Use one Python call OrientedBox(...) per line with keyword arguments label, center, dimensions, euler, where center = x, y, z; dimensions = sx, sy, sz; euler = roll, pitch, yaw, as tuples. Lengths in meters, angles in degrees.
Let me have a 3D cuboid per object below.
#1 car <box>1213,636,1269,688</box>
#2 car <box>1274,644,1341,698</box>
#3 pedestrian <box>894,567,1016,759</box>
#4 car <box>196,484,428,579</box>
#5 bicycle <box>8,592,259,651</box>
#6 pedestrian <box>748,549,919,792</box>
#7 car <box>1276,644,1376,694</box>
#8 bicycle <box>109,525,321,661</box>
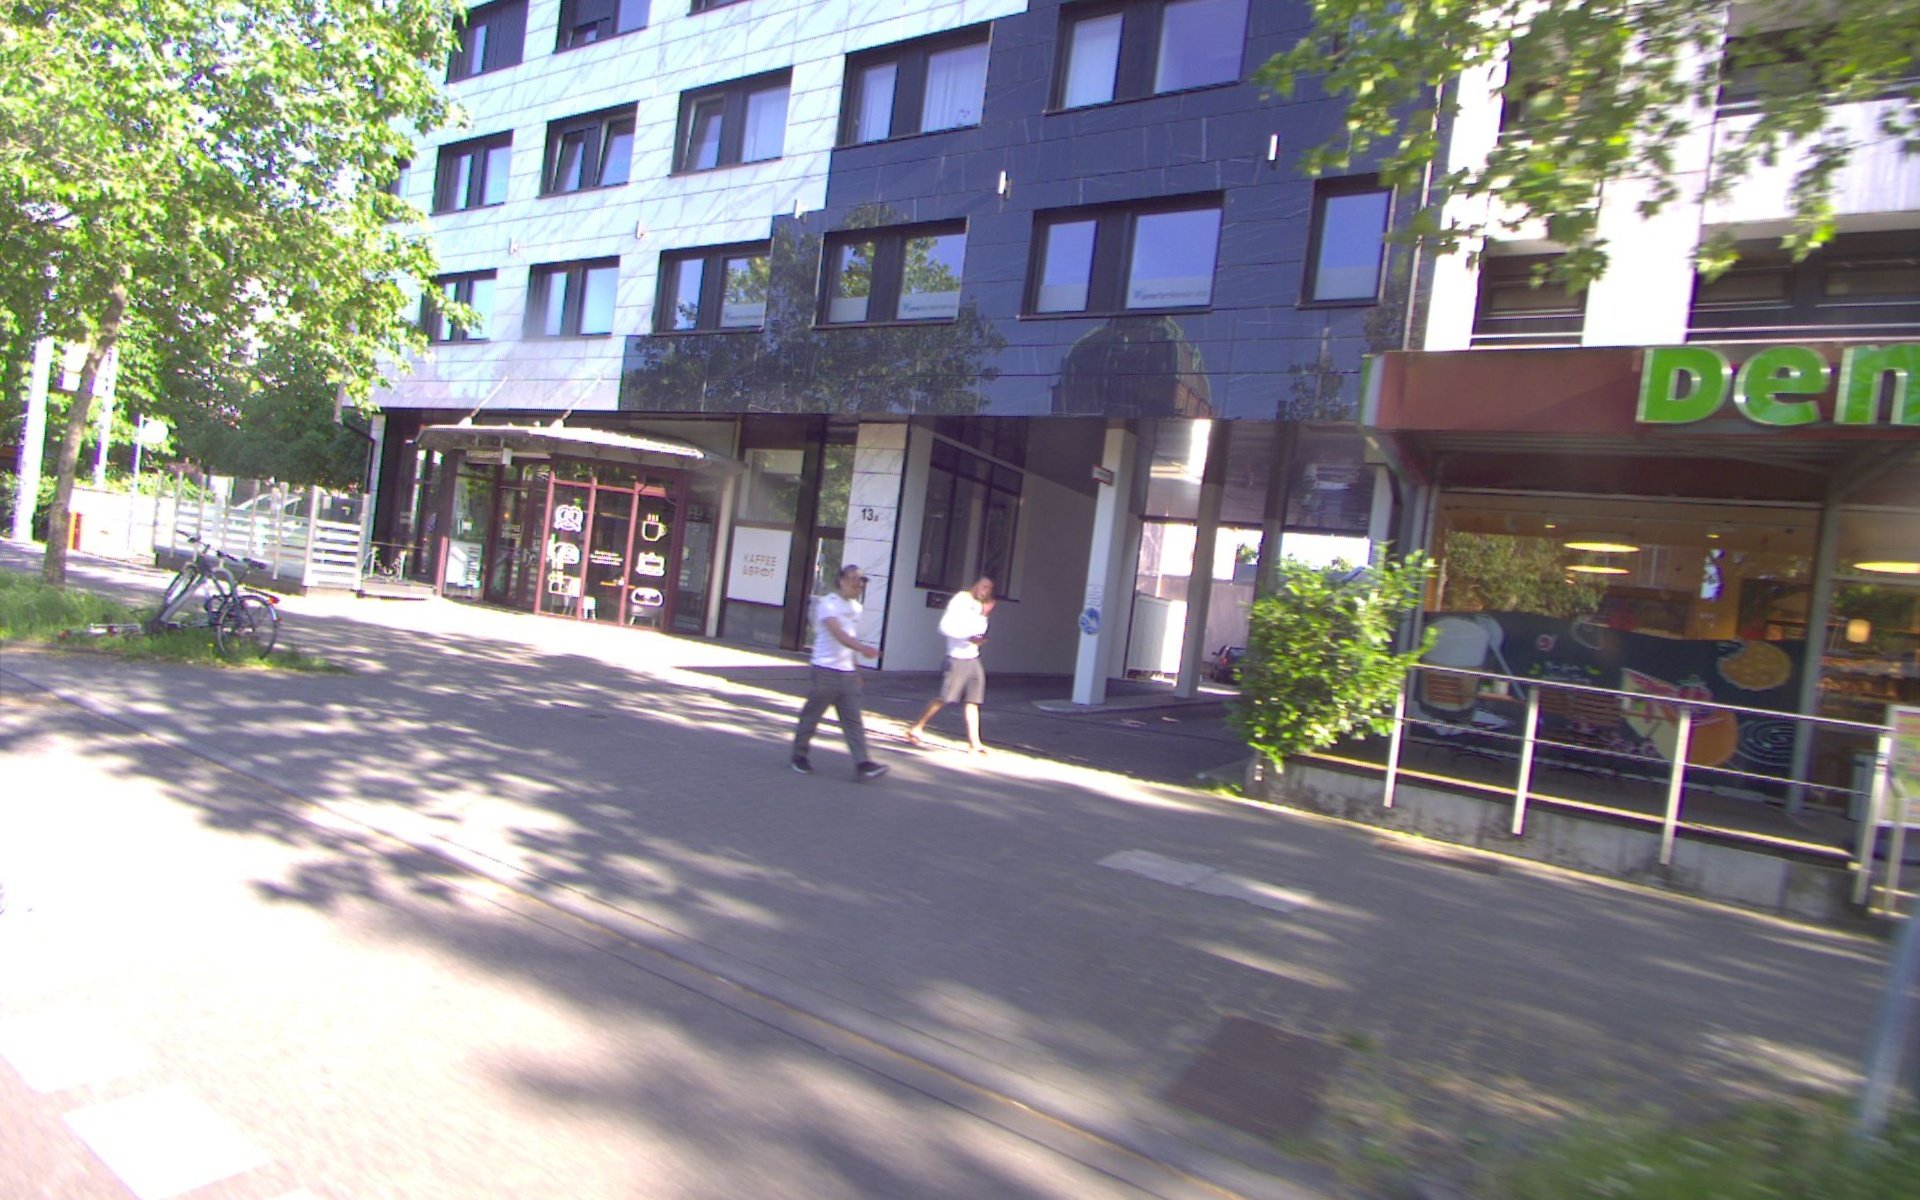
OrientedBox(label="car", center=(10.755, 2.331, 38.474), dimensions=(1.788, 1.638, 4.001), euler=(7, 0, 16))
OrientedBox(label="car", center=(12.639, 2.537, 36.780), dimensions=(1.906, 1.638, 4.001), euler=(7, 0, 16))
OrientedBox(label="pedestrian", center=(-0.051, 0.611, 10.008), dimensions=(0.864, 1.766, 0.560), euler=(7, 1, 31))
OrientedBox(label="car", center=(-17.454, -1.793, 27.357), dimensions=(1.881, 2.011, 4.898), euler=(7, 2, 32))
OrientedBox(label="bicycle", center=(-8.349, 0.228, 10.211), dimensions=(1.366, 0.357, 1.610), euler=(7, 0, 32))
OrientedBox(label="pedestrian", center=(-1.004, 0.530, 7.943), dimensions=(1.034, 1.725, 0.560), euler=(7, 1, 32))
OrientedBox(label="car", center=(15.407, 2.887, 42.375), dimensions=(3.554, 1.562, 1.551), euler=(7, 0, 32))
OrientedBox(label="bicycle", center=(-7.635, -0.071, 10.321), dimensions=(1.812, 1.147, 0.790), euler=(7, 1, 19))
